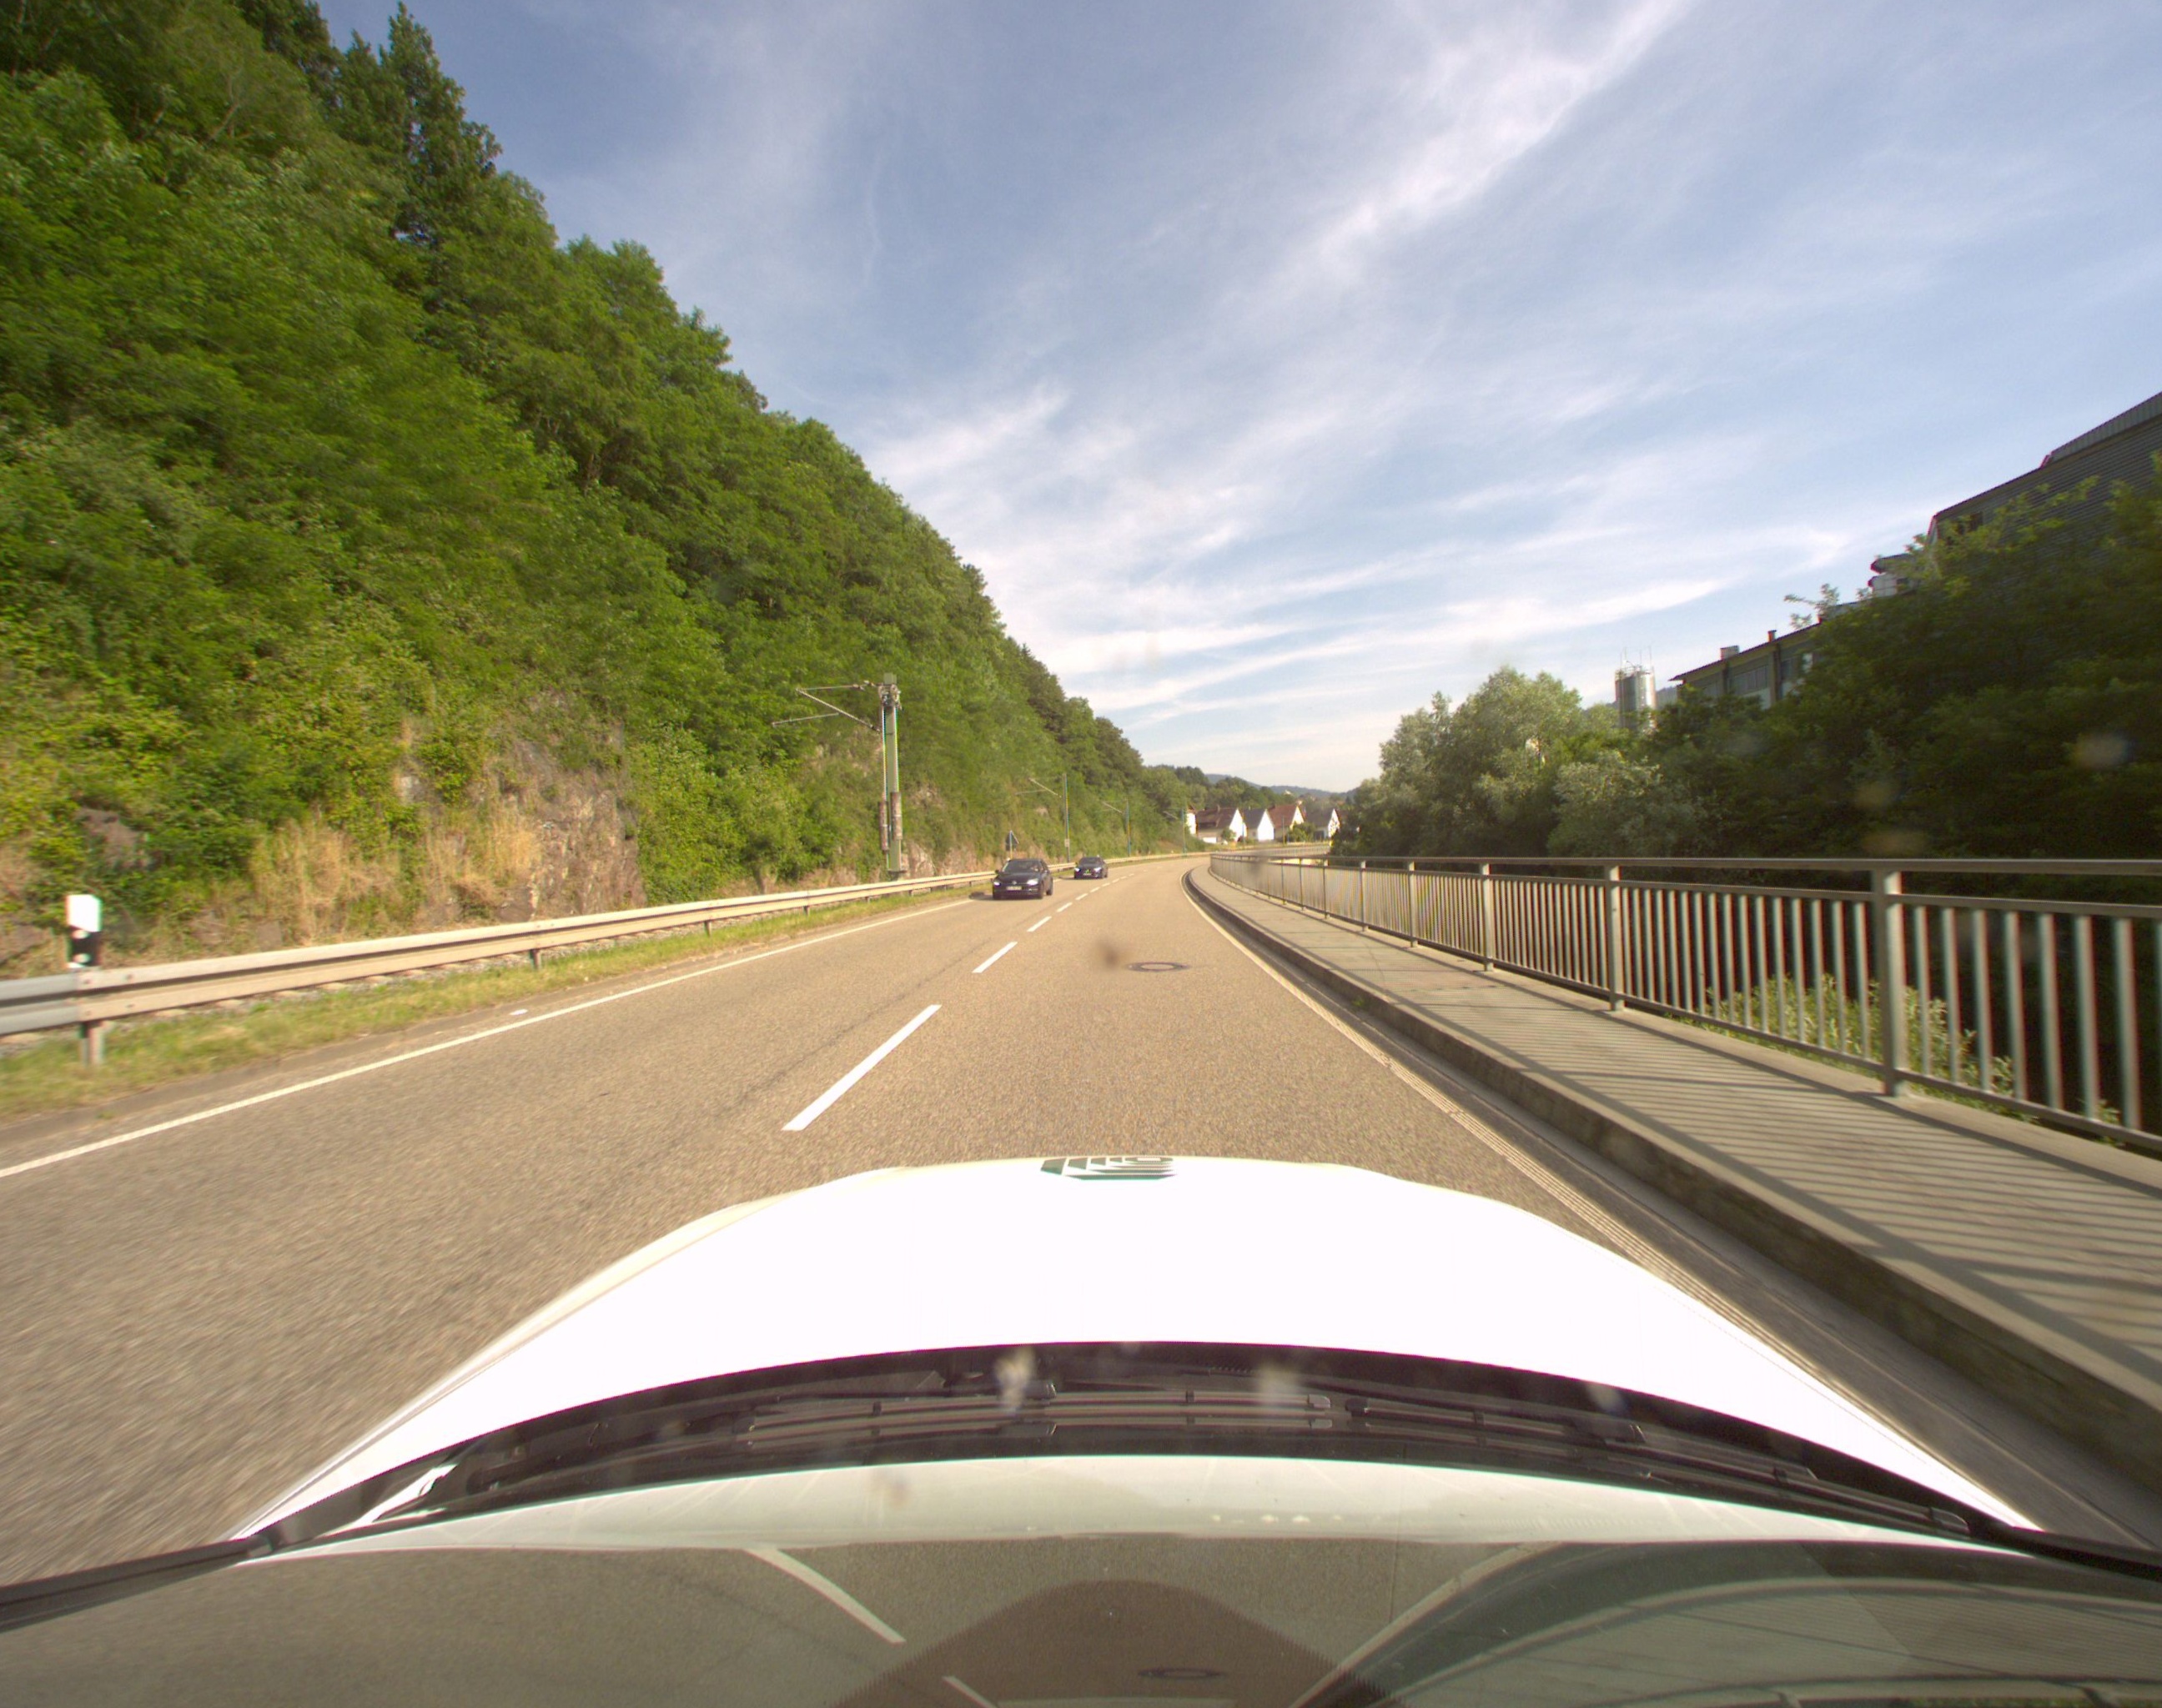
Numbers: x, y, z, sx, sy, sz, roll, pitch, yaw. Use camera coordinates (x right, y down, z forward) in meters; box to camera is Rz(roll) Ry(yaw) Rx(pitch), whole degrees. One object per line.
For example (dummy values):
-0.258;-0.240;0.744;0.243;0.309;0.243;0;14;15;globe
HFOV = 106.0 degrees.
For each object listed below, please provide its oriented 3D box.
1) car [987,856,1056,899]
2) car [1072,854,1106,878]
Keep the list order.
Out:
-2.097;0.825;29.880;1.838;1.440;3.904;-1;0;6;car
0.548;0.766;52.335;1.839;1.402;4.481;-2;0;4;car
